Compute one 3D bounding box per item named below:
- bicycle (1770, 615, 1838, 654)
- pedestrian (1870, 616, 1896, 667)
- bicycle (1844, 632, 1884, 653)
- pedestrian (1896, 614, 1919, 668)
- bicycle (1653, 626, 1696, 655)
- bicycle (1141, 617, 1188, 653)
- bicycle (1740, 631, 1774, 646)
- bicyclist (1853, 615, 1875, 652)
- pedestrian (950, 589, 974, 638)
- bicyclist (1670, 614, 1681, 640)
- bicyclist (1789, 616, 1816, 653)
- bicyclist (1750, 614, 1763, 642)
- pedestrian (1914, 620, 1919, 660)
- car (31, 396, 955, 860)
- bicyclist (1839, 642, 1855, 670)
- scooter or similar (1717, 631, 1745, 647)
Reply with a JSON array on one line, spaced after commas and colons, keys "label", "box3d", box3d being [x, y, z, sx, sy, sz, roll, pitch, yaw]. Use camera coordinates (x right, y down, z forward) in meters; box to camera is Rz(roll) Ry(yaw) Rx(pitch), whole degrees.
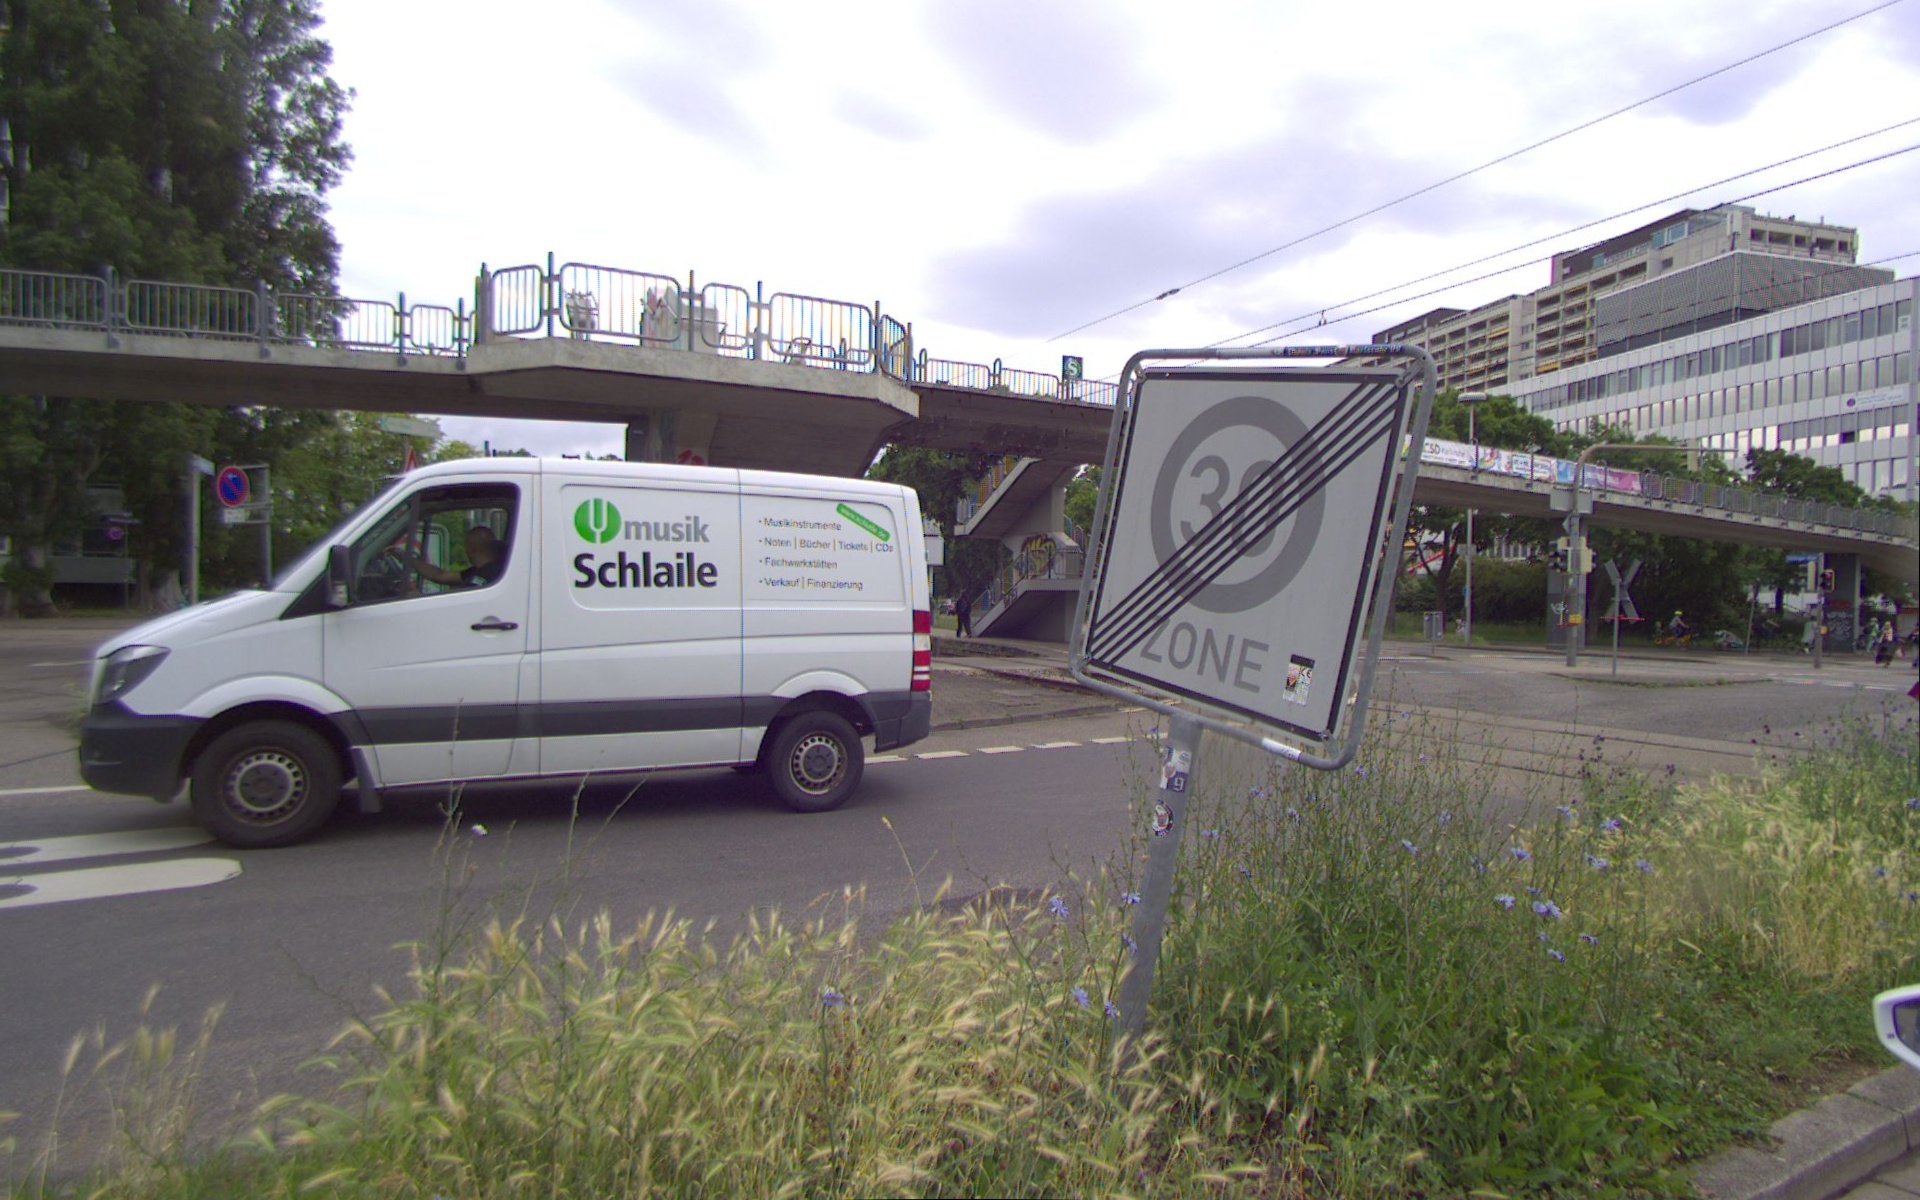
[{"label": "bicycle", "box3d": [38.196, 1.554, 45.473, 2.318, 1.647, 0.528, 1, 1, 13]}, {"label": "pedestrian", "box3d": [31.885, 1.419, 34.688, 0.402, 1.714, 0.612, 1, 1, -43]}, {"label": "bicycle", "box3d": [41.197, 1.929, 45.767, 2.493, 0.938, 0.628, 1, 1, -31]}, {"label": "pedestrian", "box3d": [32.695, 1.388, 34.533, 0.795, 1.828, 0.632, 1, 1, -39]}, {"label": "bicycle", "box3d": [34.813, 1.977, 48.978, 1.682, 1.321, 0.387, 1, 1, 37]}, {"label": "bicycle", "box3d": [5.823, 0.974, 28.693, 0.368, 0.934, 2.029, 1, 0, -18]}, {"label": "bicycle", "box3d": [38.024, 1.836, 47.918, 1.271, 0.701, 0.290, 1, 1, 9]}, {"label": "bicyclist", "box3d": [41.157, 1.528, 45.726, 0.525, 1.666, 0.562, 2, 0, -29]}, {"label": "pedestrian", "box3d": [0.059, 0.467, 34.723, 0.593, 1.664, 0.659, 1, 1, -25]}, {"label": "bicyclist", "box3d": [34.865, 1.313, 48.969, 0.400, 1.270, 0.276, 1, 1, 36]}, {"label": "bicyclist", "box3d": [38.166, 1.554, 45.510, 0.735, 1.647, 0.528, 1, 1, 13]}, {"label": "bicyclist", "box3d": [37.990, 1.342, 47.915, 0.376, 1.321, 0.278, 1, 1, 9]}, {"label": "pedestrian", "box3d": [38.528, 1.608, 40.102, 0.572, 1.600, 0.777, 2, 0, 42]}, {"label": "car", "box3d": [-2.809, 0.183, 7.150, 5.140, 2.323, 2.126, 1, 0, -27]}, {"label": "bicyclist", "box3d": [39.409, 2.489, 44.642, 0.372, 1.197, 0.403, 0, 1, -28]}, {"label": "scooter or similar", "box3d": [36.893, 1.876, 48.053, 0.977, 0.724, 0.406, 1, 0, 9]}]
